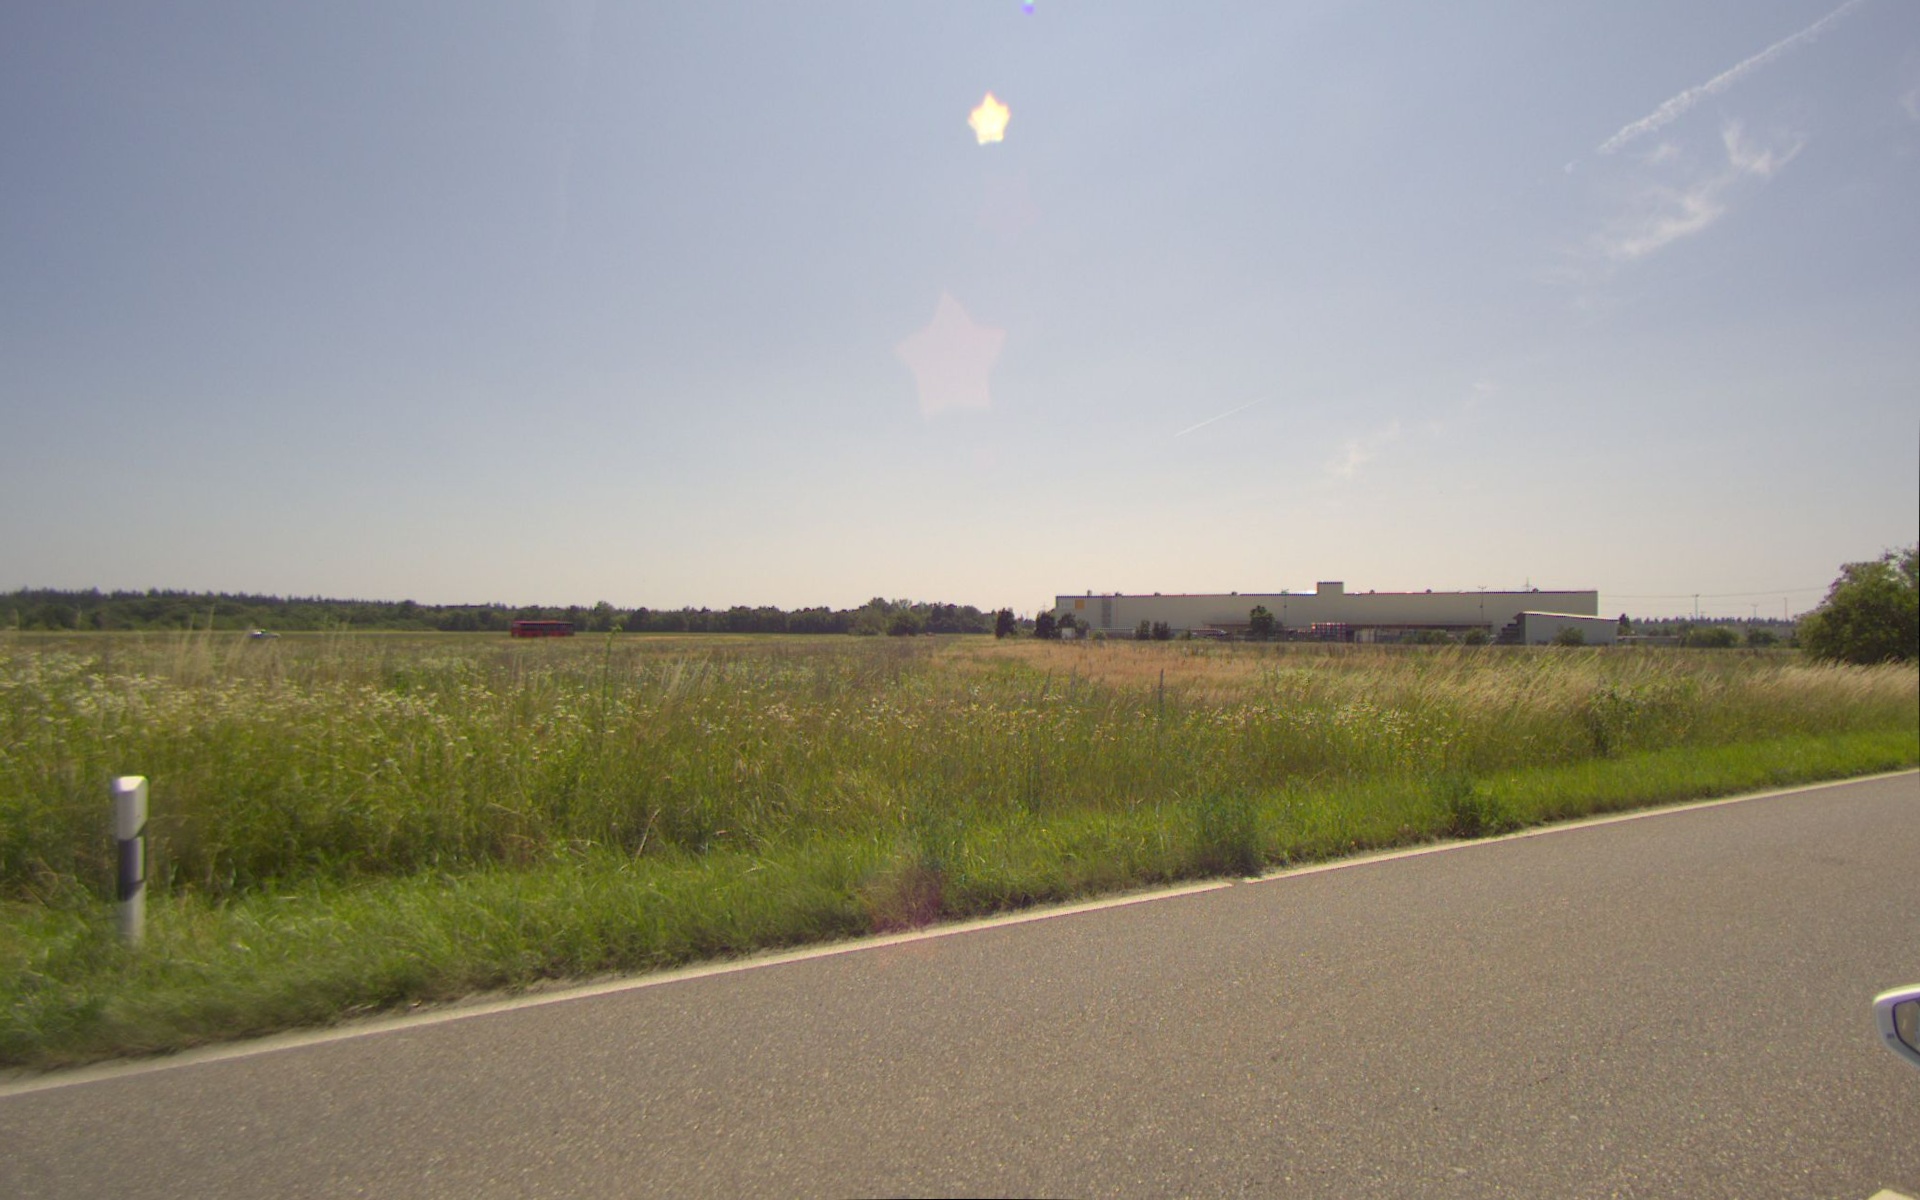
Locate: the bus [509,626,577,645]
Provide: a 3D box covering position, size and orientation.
[{"bbox_3d":[-74.565,6.345,179.904,3.252,3.352,11.979,0,-2,26],"label":"bus"}]
